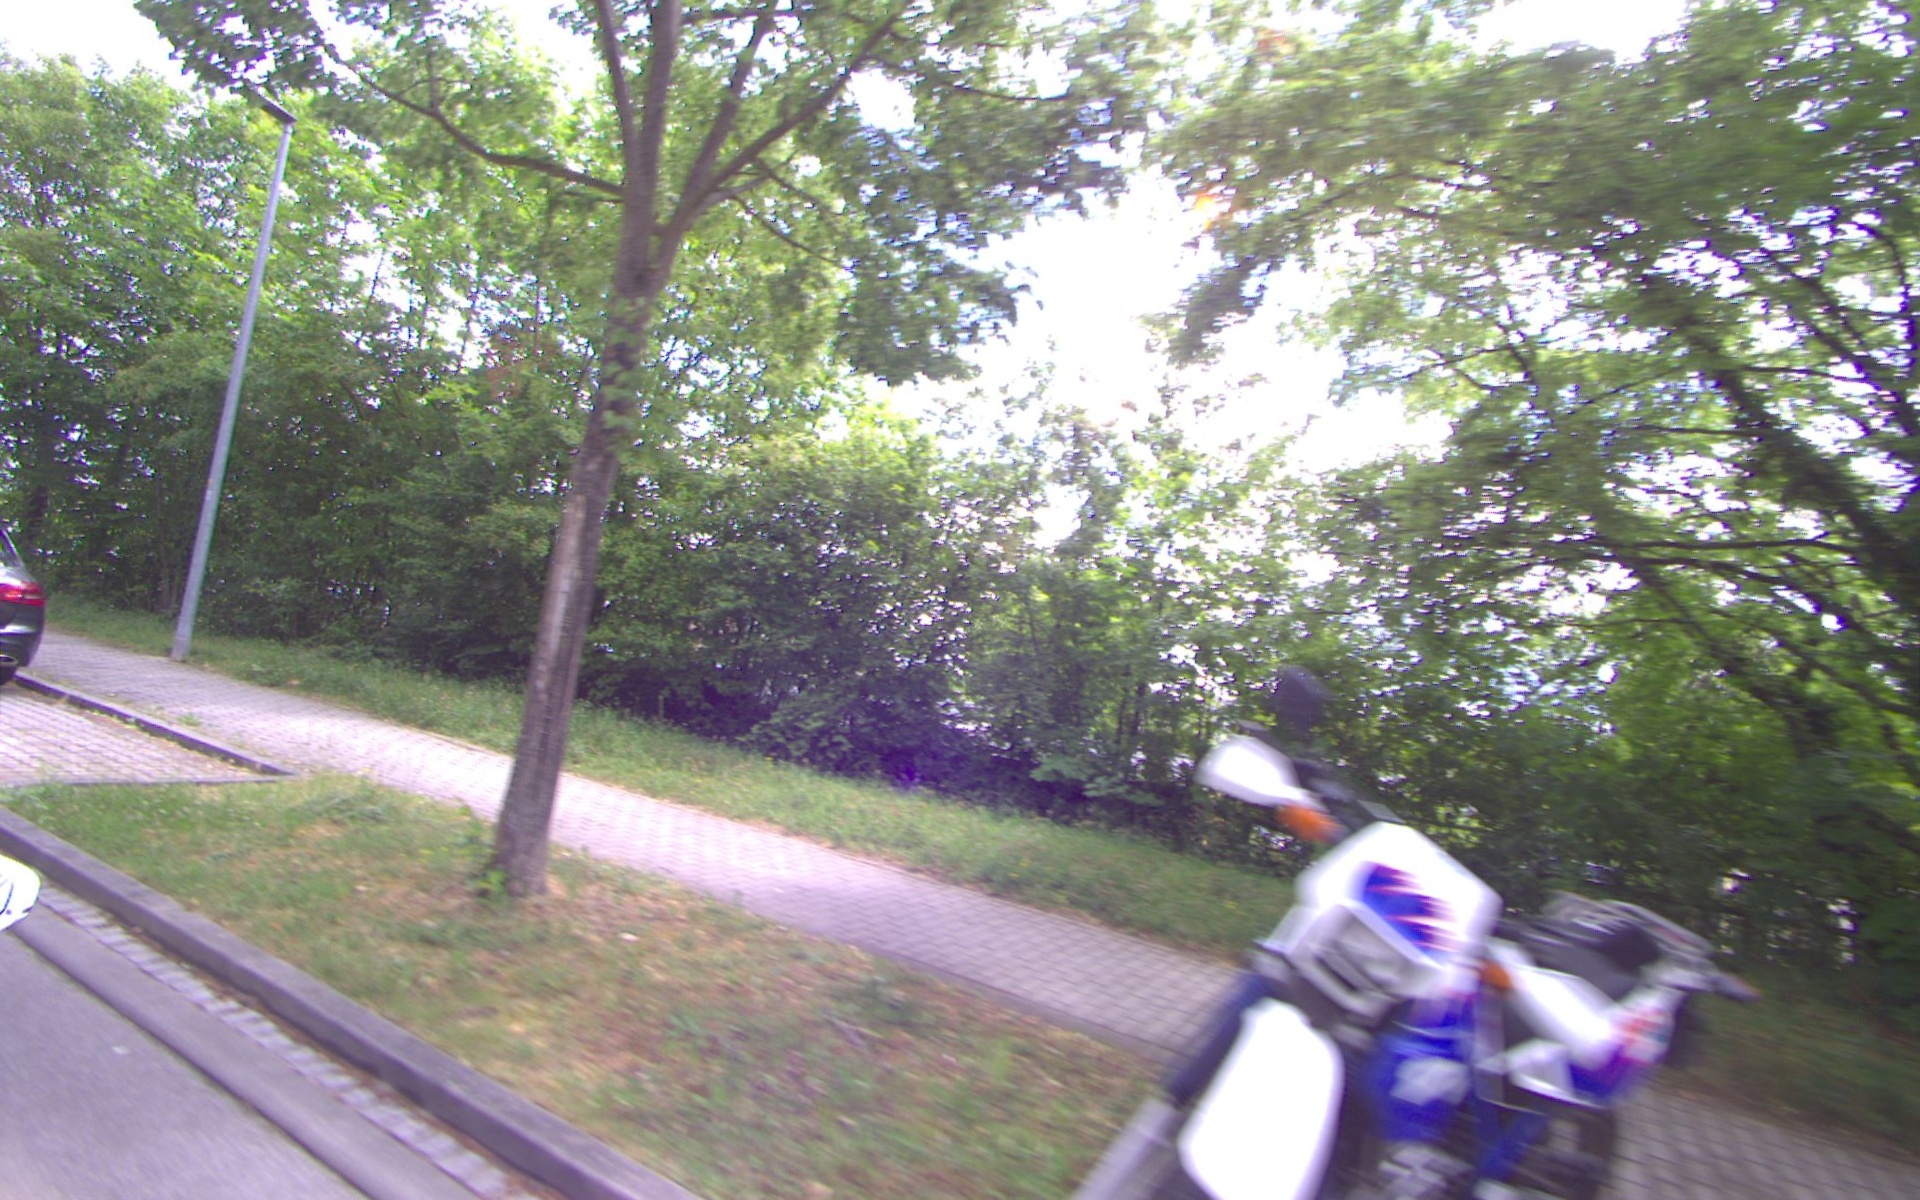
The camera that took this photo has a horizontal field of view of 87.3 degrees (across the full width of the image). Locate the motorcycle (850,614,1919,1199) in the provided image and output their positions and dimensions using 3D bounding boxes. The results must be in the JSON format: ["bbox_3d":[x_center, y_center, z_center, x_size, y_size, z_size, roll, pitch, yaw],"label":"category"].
[{"bbox_3d":[1.039,0.942,2.205,2.291,1.492,0.967,9,-2,-33],"label":"motorcycle"}]

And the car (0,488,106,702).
[{"bbox_3d":[-9.196,-0.369,8.123,4.467,1.546,1.900,8,-3,29],"label":"car"}]
